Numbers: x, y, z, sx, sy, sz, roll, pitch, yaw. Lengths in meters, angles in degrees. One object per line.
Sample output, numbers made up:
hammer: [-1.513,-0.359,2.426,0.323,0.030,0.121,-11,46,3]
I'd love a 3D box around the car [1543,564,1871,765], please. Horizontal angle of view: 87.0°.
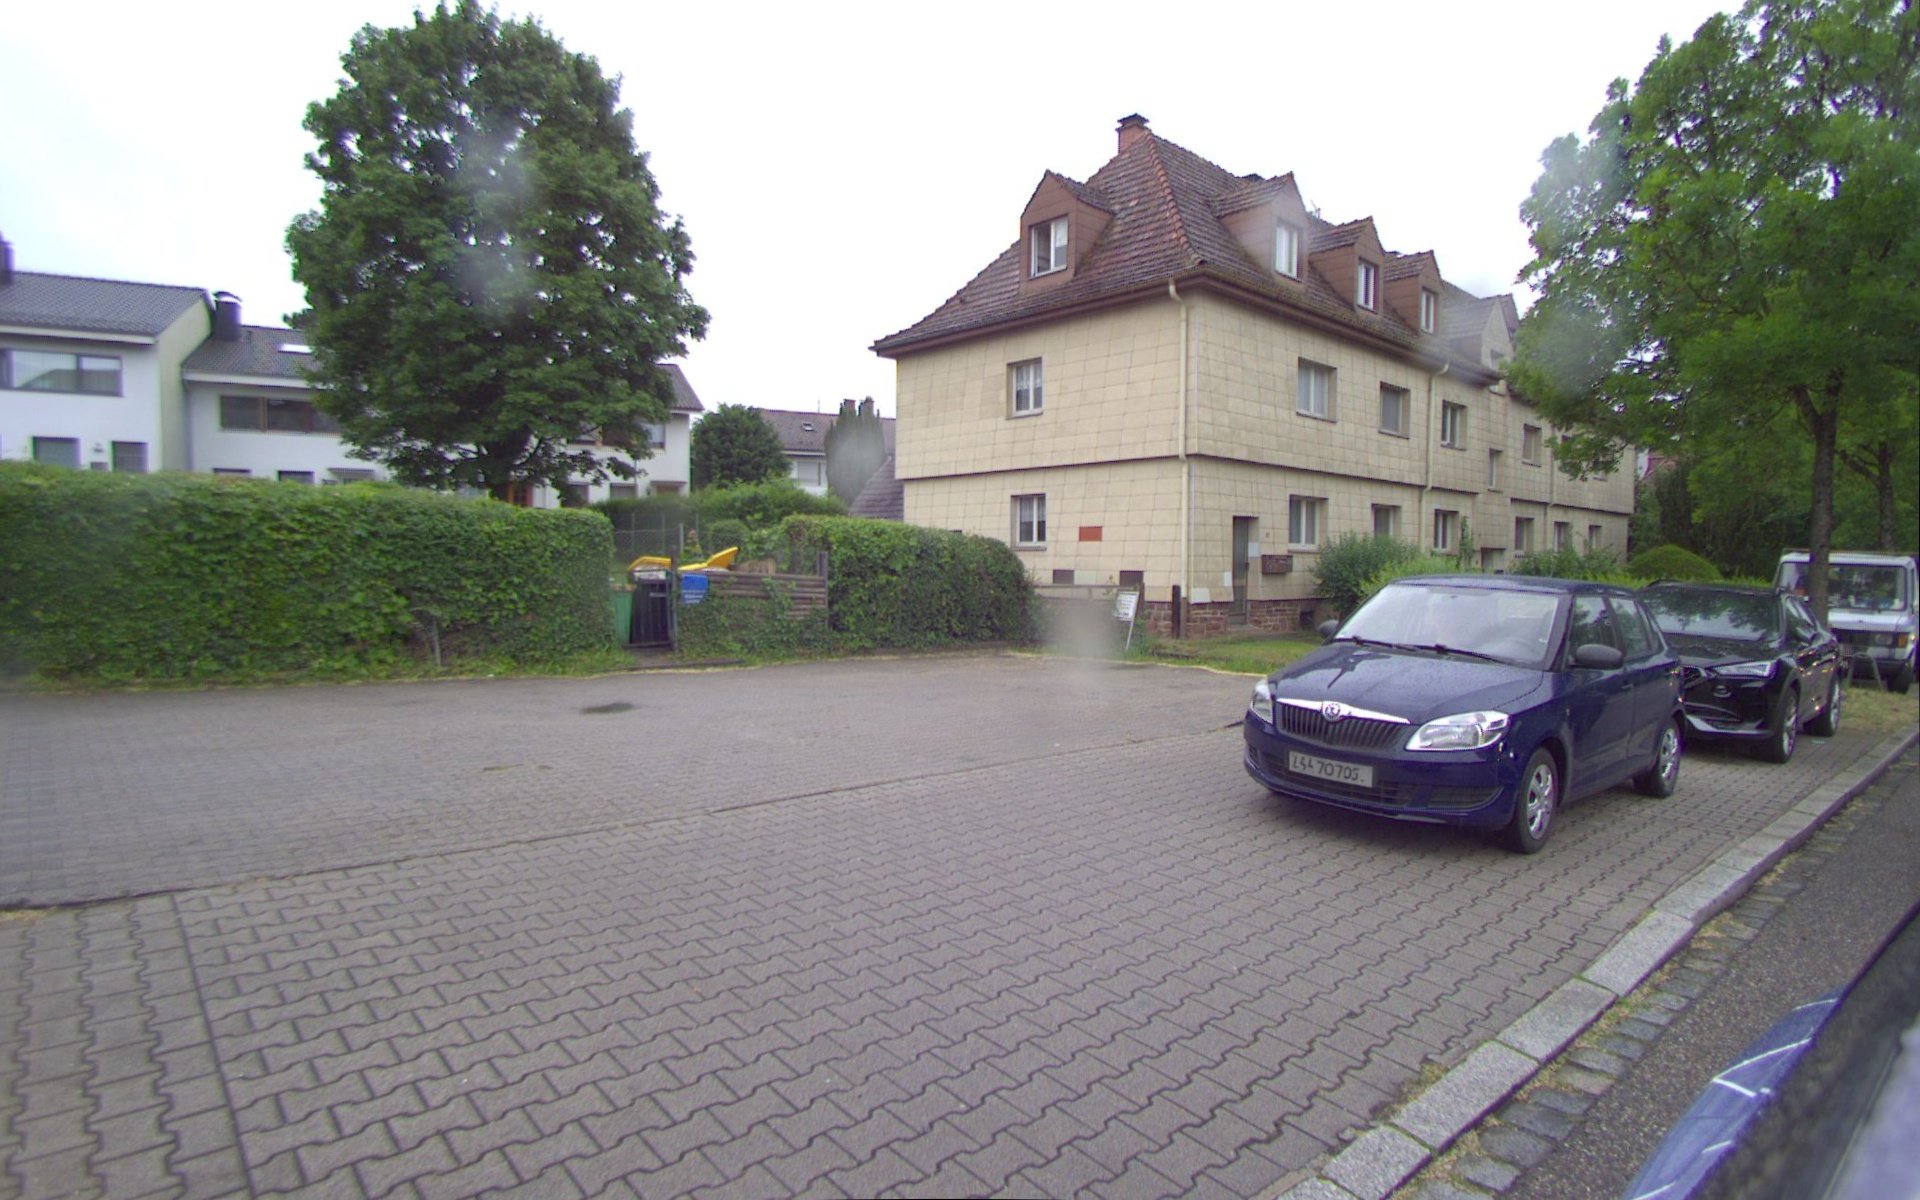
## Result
car: [7.509,0.493,10.018,4.111,1.516,1.718,0,4,-42]

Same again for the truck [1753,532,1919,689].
truck: [15.898,0.120,17.717,6.391,2.248,2.084,0,4,-43]

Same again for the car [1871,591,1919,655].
car: [23.989,0.640,25.067,3.951,1.453,1.605,3,3,-42]

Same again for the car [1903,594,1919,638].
car: [33.442,0.568,34.394,4.423,1.406,1.691,0,4,-43]

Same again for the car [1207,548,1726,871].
car: [3.444,0.492,6.580,3.788,1.490,1.608,0,3,-40]
